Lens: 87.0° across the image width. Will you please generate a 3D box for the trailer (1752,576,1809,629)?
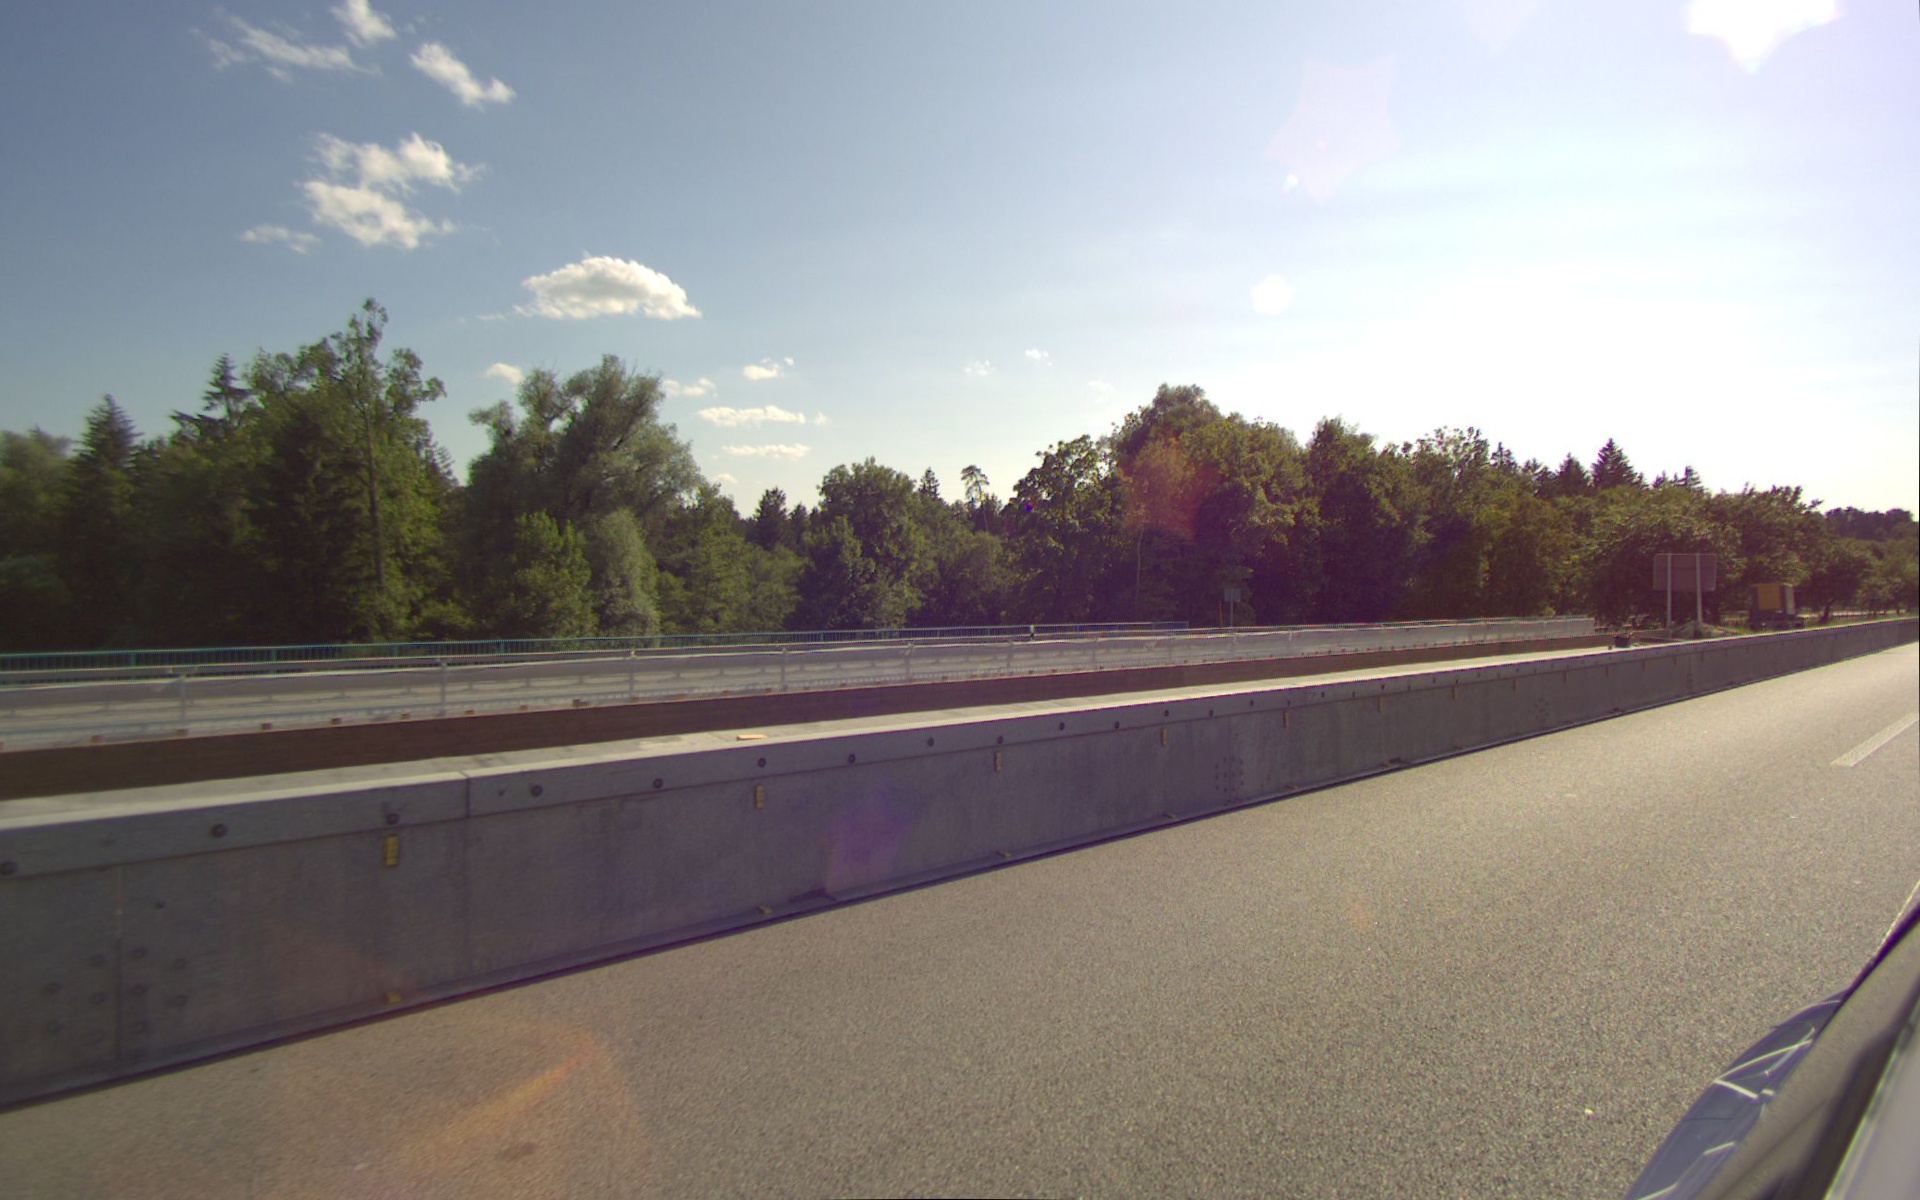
[{"bbox_3d":[31.169,0.076,38.398,3.933,1.897,1.126,0,2,-43],"label":"trailer"}]
